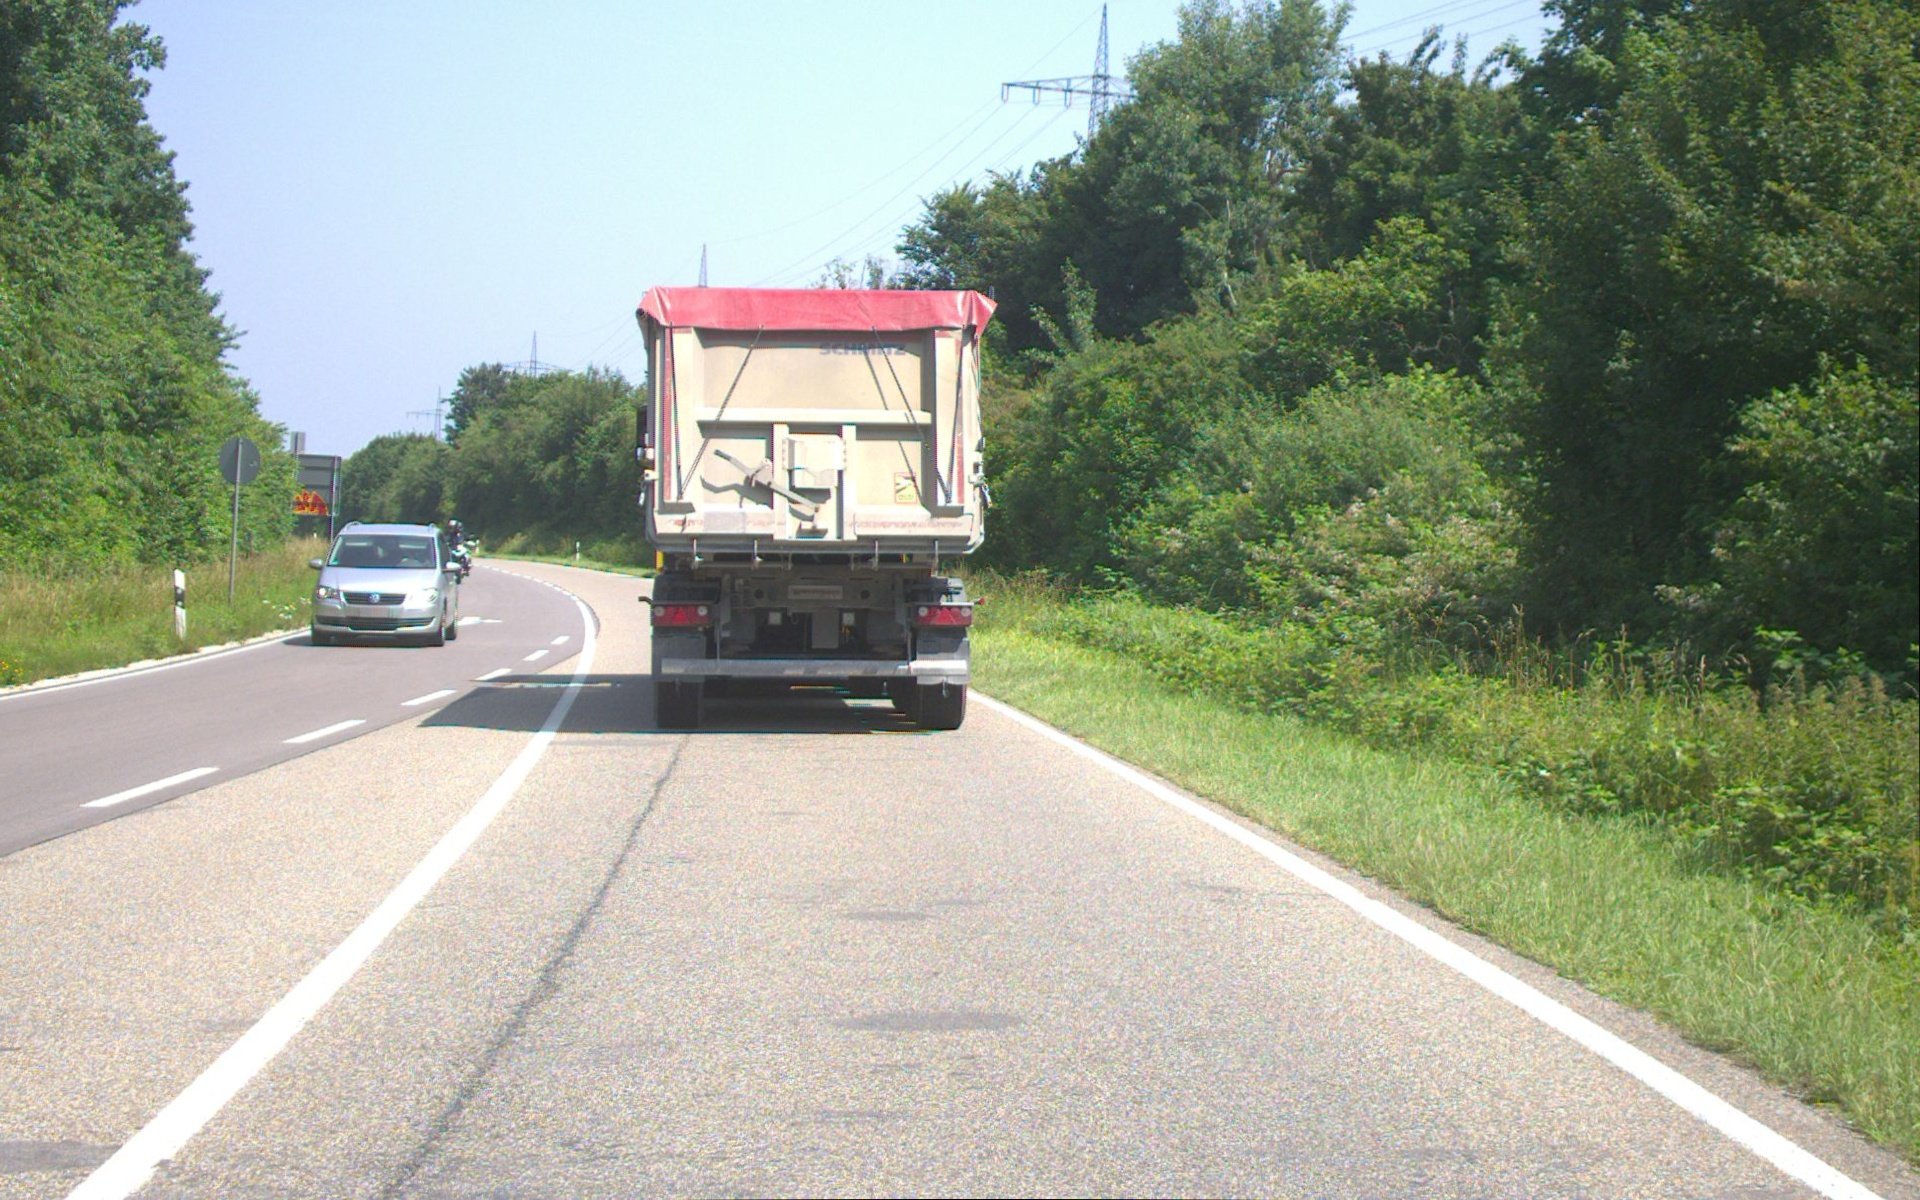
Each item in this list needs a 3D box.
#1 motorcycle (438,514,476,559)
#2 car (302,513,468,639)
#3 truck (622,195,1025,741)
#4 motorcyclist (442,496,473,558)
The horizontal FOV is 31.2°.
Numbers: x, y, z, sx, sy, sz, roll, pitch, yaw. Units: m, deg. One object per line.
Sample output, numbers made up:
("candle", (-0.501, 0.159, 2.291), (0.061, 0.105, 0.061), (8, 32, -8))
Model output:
("motorcycle", (-14.105, -1.785, 96.480), (0.946, 1.246, 2.683), (1, 1, -7))
("car", (-7.883, -0.344, 47.443), (1.802, 1.631, 4.212), (1, 1, -3))
("truck", (-1.467, -1.096, 31.218), (2.893, 3.949, 11.935), (1, 1, -5))
("motorcyclist", (-14.172, -2.055, 96.963), (0.830, 1.746, 0.623), (1, 1, -7))
